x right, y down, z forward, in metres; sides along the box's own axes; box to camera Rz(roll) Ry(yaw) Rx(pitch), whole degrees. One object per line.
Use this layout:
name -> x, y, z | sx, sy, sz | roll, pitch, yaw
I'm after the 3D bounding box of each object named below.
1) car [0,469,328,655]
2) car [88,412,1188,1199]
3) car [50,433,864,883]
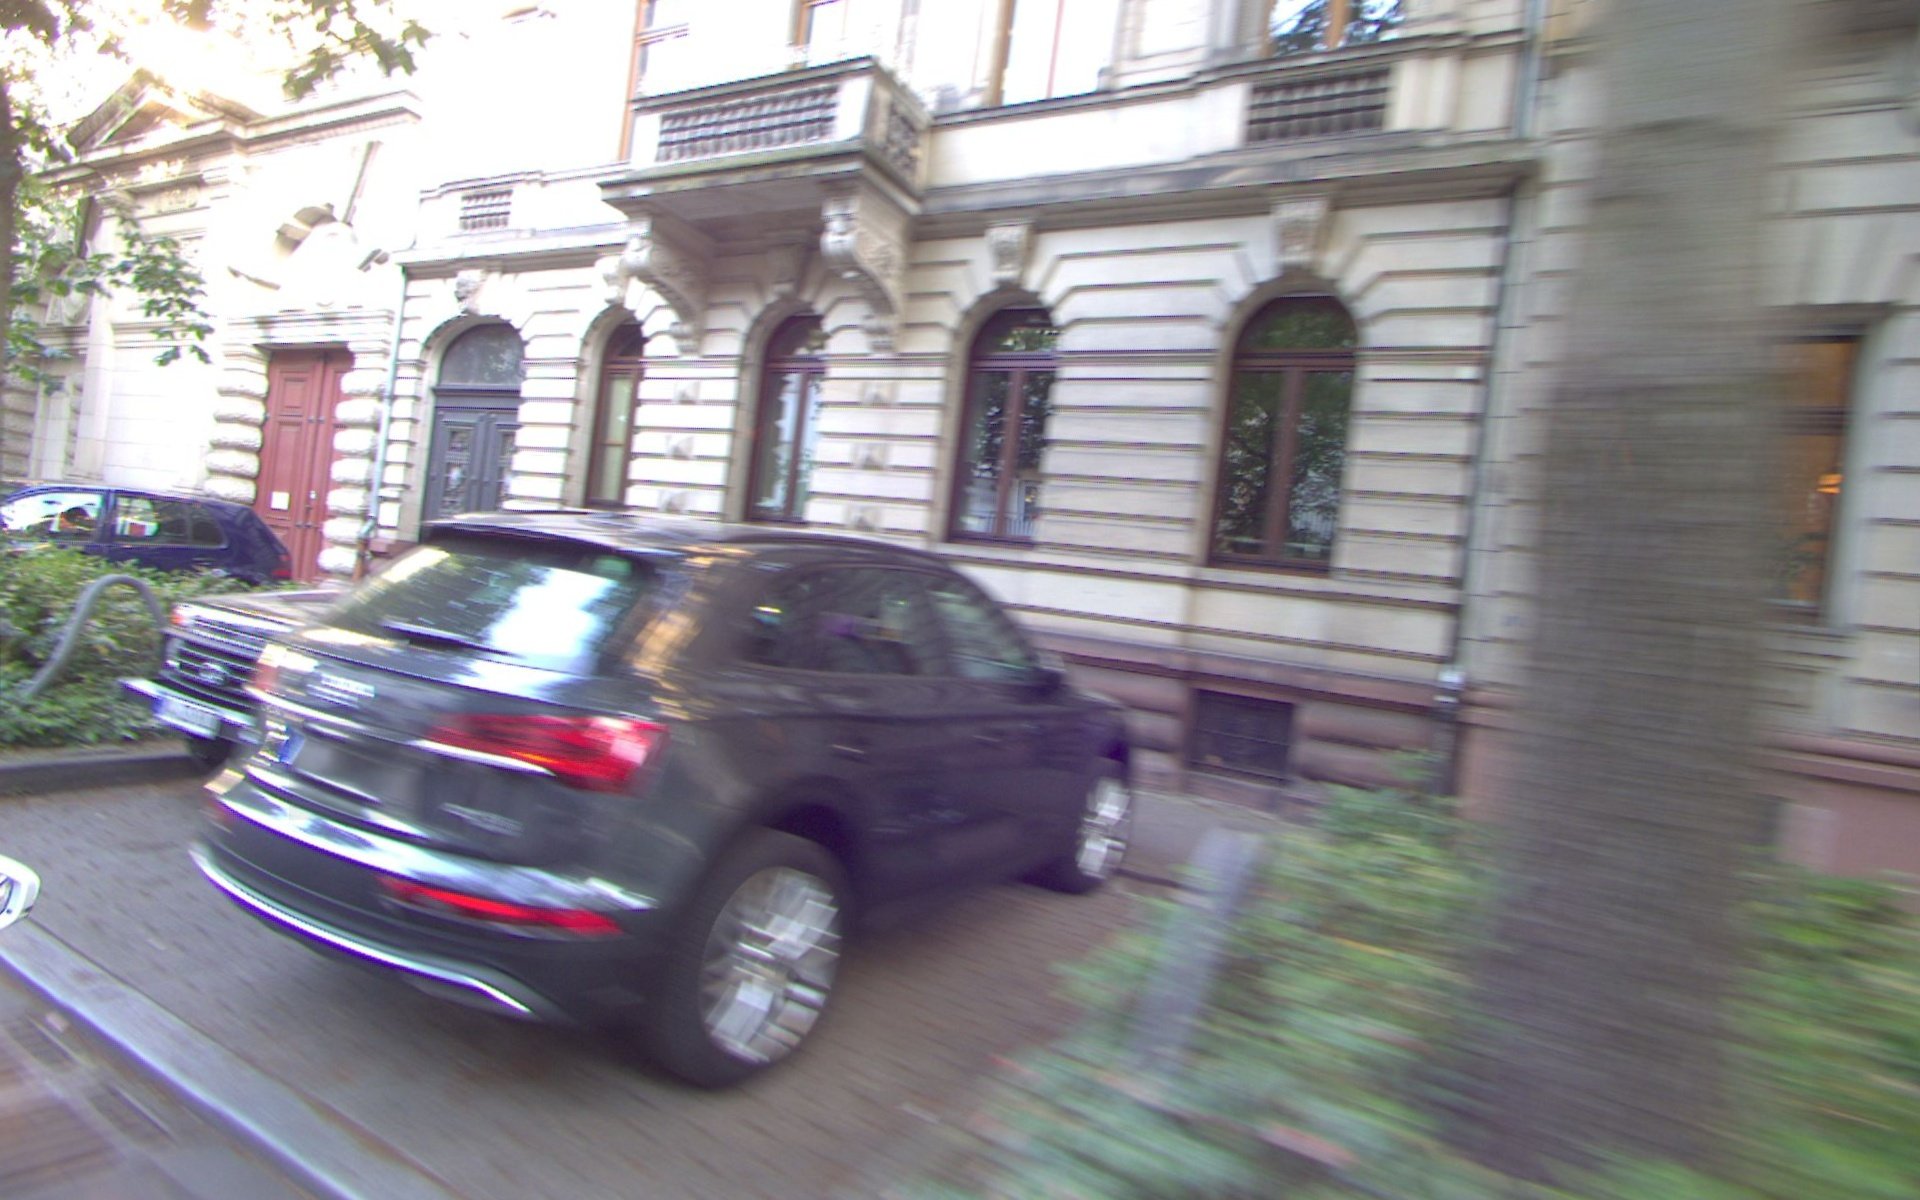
car -> -8.333, -0.380, 8.897 | 1.823, 1.500, 4.228 | 7, 1, 29
car -> -0.642, 0.528, 4.492 | 1.934, 1.739, 4.447 | 6, 0, 29
car -> -2.519, 0.303, 6.106 | 1.734, 1.707, 4.015 | 8, 0, 29
